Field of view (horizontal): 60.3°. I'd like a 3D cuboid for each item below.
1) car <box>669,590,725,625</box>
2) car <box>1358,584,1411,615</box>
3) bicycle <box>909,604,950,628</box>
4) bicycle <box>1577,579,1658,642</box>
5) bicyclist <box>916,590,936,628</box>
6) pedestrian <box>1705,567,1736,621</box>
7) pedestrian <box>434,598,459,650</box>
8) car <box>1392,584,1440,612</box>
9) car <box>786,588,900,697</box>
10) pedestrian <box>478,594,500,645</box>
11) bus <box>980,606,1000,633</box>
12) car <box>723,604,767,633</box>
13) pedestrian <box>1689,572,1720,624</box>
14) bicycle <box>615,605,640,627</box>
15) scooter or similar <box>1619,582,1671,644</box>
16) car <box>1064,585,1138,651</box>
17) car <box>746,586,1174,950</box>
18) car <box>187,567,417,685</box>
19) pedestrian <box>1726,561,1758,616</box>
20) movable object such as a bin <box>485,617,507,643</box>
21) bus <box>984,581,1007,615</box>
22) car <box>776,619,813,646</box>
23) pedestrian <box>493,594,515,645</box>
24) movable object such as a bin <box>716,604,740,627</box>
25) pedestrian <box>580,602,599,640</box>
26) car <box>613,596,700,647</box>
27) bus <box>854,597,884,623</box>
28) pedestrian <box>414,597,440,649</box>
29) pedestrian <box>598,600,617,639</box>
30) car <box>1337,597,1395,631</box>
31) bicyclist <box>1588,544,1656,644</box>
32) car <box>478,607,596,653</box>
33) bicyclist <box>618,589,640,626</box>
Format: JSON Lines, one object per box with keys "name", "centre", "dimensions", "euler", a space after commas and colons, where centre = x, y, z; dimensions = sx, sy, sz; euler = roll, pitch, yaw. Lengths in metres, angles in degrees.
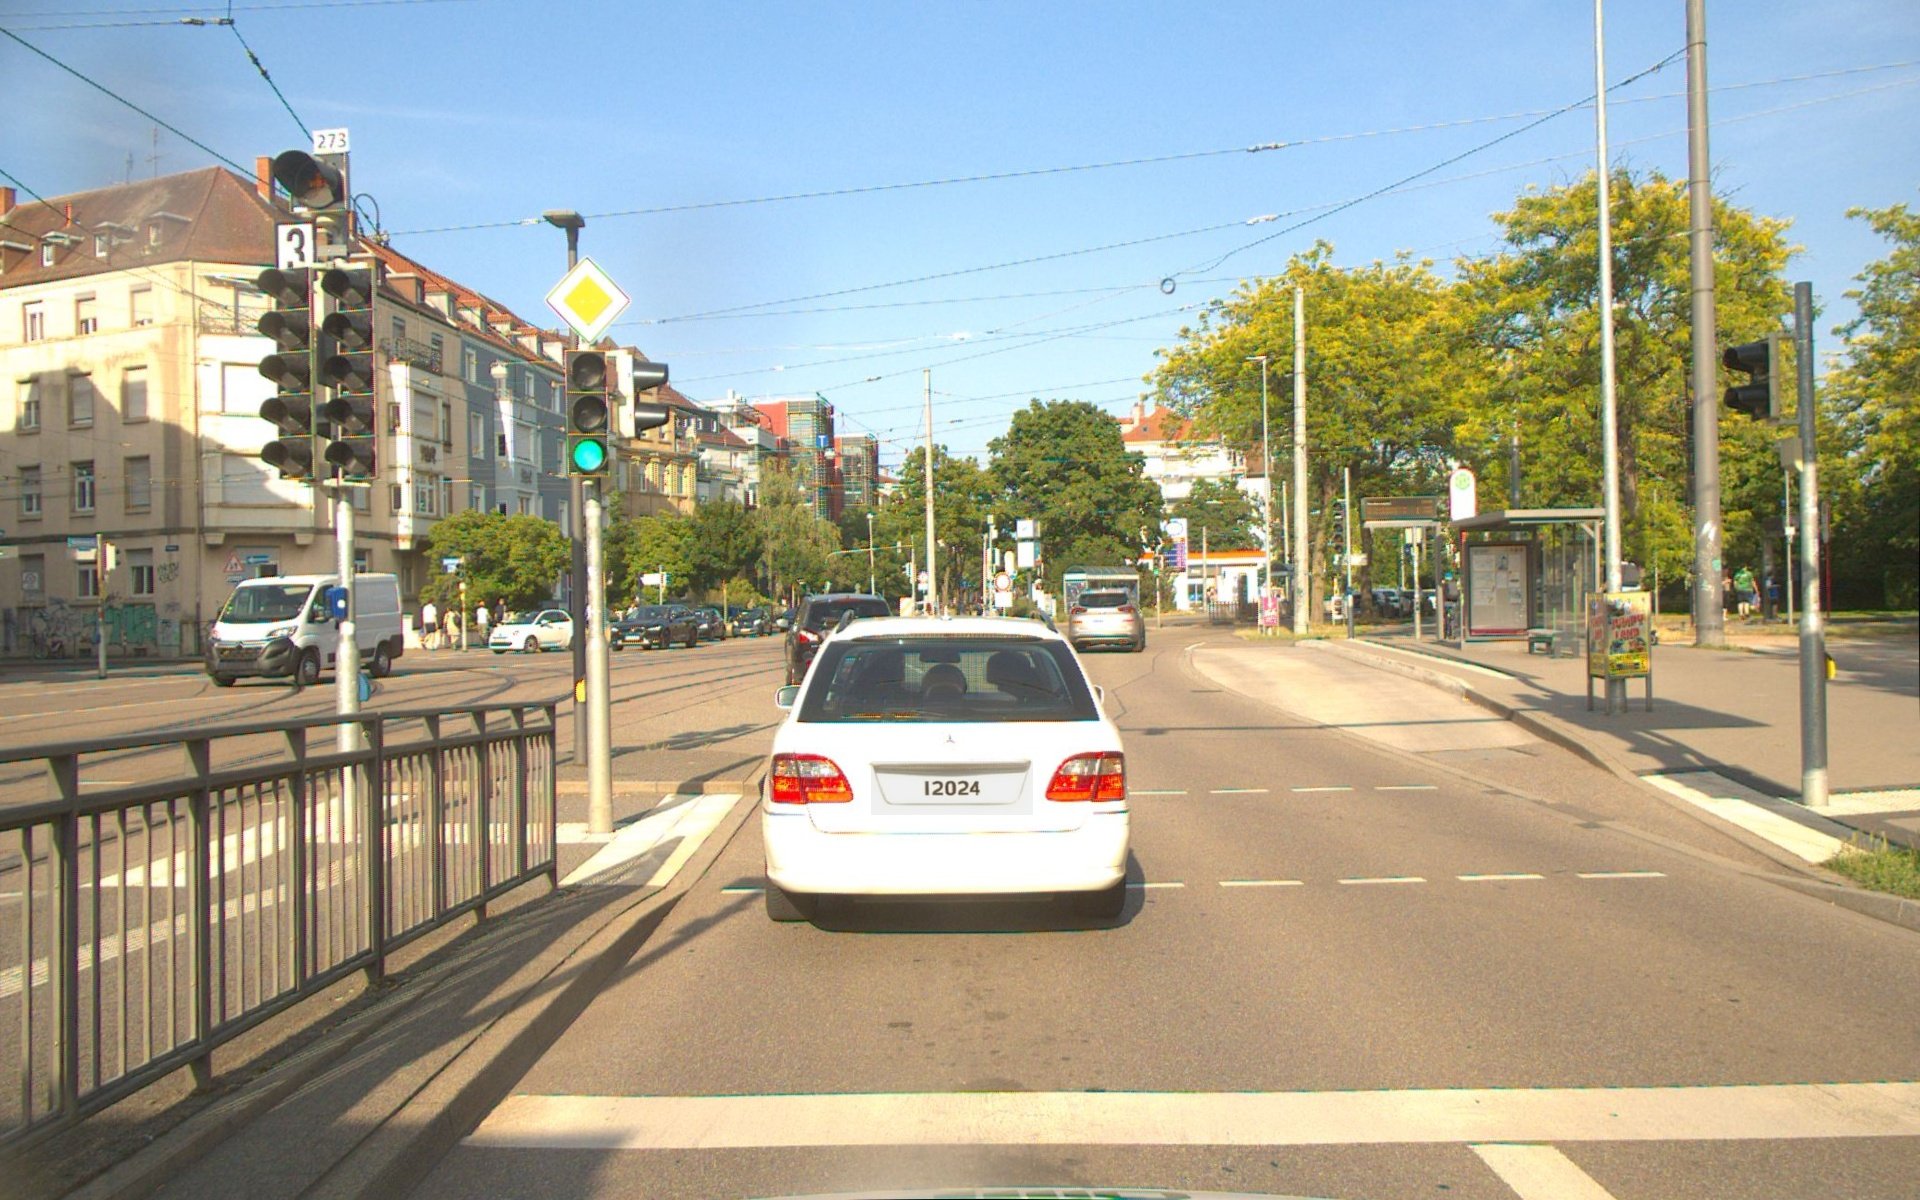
{"name": "car", "centre": [-11.678, 0.321, 73.556], "dimensions": [1.730, 1.458, 4.001], "euler": [-1, 0, 1]}
{"name": "car", "centre": [22.556, -0.030, 87.715], "dimensions": [1.818, 1.542, 3.995], "euler": [-3, -1, 27]}
{"name": "bicycle", "centre": [-1.433, 0.766, 78.157], "dimensions": [1.875, 1.011, 0.726], "euler": [-3, 0, -1]}
{"name": "bicycle", "centre": [12.250, 0.193, 30.889], "dimensions": [0.627, 1.107, 1.939], "euler": [-3, 0, -2]}
{"name": "bicyclist", "centre": [-1.595, 0.409, 78.154], "dimensions": [0.881, 1.728, 0.732], "euler": [-3, 0, -1]}
{"name": "pedestrian", "centre": [23.998, -0.193, 52.205], "dimensions": [0.628, 1.694, 0.690], "euler": [-1, 0, -1]}
{"name": "pedestrian", "centre": [-18.751, 0.861, 60.398], "dimensions": [0.660, 1.880, 0.650], "euler": [-1, 0, 6]}
{"name": "car", "centre": [26.568, -0.121, 96.303], "dimensions": [1.818, 1.542, 3.995], "euler": [-3, -1, 27]}
{"name": "car", "centre": [-1.812, 0.643, 26.585], "dimensions": [1.608, 1.628, 3.814], "euler": [0, 0, -1]}
{"name": "pedestrian", "centre": [-18.003, 0.748, 63.205], "dimensions": [0.572, 1.914, 0.627], "euler": [-1, 0, 3]}
{"name": "bus", "centre": [2.705, 1.737, 149.489], "dimensions": [1.761, 2.374, 3.999], "euler": [1, -1, 0]}
{"name": "car", "centre": [-11.118, 0.944, 85.738], "dimensions": [1.600, 1.458, 3.629], "euler": [-1, 0, 3]}
{"name": "pedestrian", "centre": [23.857, -0.052, 53.010], "dimensions": [0.628, 1.638, 0.690], "euler": [-1, 0, -1]}
{"name": "bicycle", "centre": [-15.558, 0.750, 77.471], "dimensions": [0.753, 0.982, 2.034], "euler": [-1, 0, 0]}
{"name": "scooter or similar", "centre": [14.033, 0.265, 33.880], "dimensions": [0.345, 1.253, 1.131], "euler": [-1, 0, -15]}
{"name": "car", "centre": [3.638, 0.454, 43.190], "dimensions": [1.797, 1.628, 3.816], "euler": [0, 0, 3]}
{"name": "car", "centre": [-0.052, 0.718, 8.898], "dimensions": [1.798, 1.528, 3.813], "euler": [0, 0, -2]}
{"name": "car", "centre": [-13.745, 0.495, 35.002], "dimensions": [2.130, 2.278, 5.257], "euler": [-1, 0, 8]}
{"name": "pedestrian", "centre": [24.278, -0.349, 51.354], "dimensions": [0.628, 1.694, 0.690], "euler": [-1, 0, -1]}
{"name": "movable object such as a bin", "centre": [-17.934, 1.160, 63.941], "dimensions": [0.570, 0.963, 0.663], "euler": [-1, 0, 8]}
{"name": "bus", "centre": [2.868, -0.152, 133.897], "dimensions": [1.760, 2.600, 4.000], "euler": [1, -1, 1]}
{"name": "car", "centre": [-10.001, 1.967, 100.285], "dimensions": [1.654, 1.466, 4.002], "euler": [-1, 0, 3]}
{"name": "pedestrian", "centre": [-17.403, 0.744, 63.139], "dimensions": [0.572, 1.914, 0.627], "euler": [-1, 0, 4]}
{"name": "movable object such as a bin", "centre": [-15.329, 1.025, 109.254], "dimensions": [1.573, 1.446, 1.082], "euler": [-1, 0, -8]}
{"name": "pedestrian", "centre": [-17.407, 0.974, 77.740], "dimensions": [0.625, 1.781, 0.911], "euler": [-1, 0, 2]}
{"name": "car", "centre": [-10.322, 0.690, 56.644], "dimensions": [1.729, 1.520, 4.747], "euler": [-1, 1, 5]}
{"name": "bus", "centre": [-5.997, 0.650, 109.647], "dimensions": [1.807, 1.665, 4.158], "euler": [-1, 0, -1]}
{"name": "pedestrian", "centre": [-19.534, 0.838, 60.623], "dimensions": [0.644, 1.914, 0.627], "euler": [-1, 0, 8]}
{"name": "pedestrian", "centre": [-16.565, 0.914, 77.658], "dimensions": [0.625, 1.781, 0.911], "euler": [-1, 0, 2]}
{"name": "car", "centre": [20.140, 0.664, 81.942], "dimensions": [1.818, 1.542, 3.994], "euler": [-3, -1, 28]}
{"name": "bicyclist", "centre": [12.232, -0.103, 30.584], "dimensions": [0.636, 1.776, 1.139], "euler": [-4, -1, -2]}
{"name": "car", "centre": [-14.792, 1.041, 57.975], "dimensions": [1.760, 1.482, 3.994], "euler": [-1, 0, 28]}
{"name": "bicyclist", "centre": [-15.571, 0.358, 77.832], "dimensions": [0.744, 1.697, 1.167], "euler": [-1, 0, 0]}
